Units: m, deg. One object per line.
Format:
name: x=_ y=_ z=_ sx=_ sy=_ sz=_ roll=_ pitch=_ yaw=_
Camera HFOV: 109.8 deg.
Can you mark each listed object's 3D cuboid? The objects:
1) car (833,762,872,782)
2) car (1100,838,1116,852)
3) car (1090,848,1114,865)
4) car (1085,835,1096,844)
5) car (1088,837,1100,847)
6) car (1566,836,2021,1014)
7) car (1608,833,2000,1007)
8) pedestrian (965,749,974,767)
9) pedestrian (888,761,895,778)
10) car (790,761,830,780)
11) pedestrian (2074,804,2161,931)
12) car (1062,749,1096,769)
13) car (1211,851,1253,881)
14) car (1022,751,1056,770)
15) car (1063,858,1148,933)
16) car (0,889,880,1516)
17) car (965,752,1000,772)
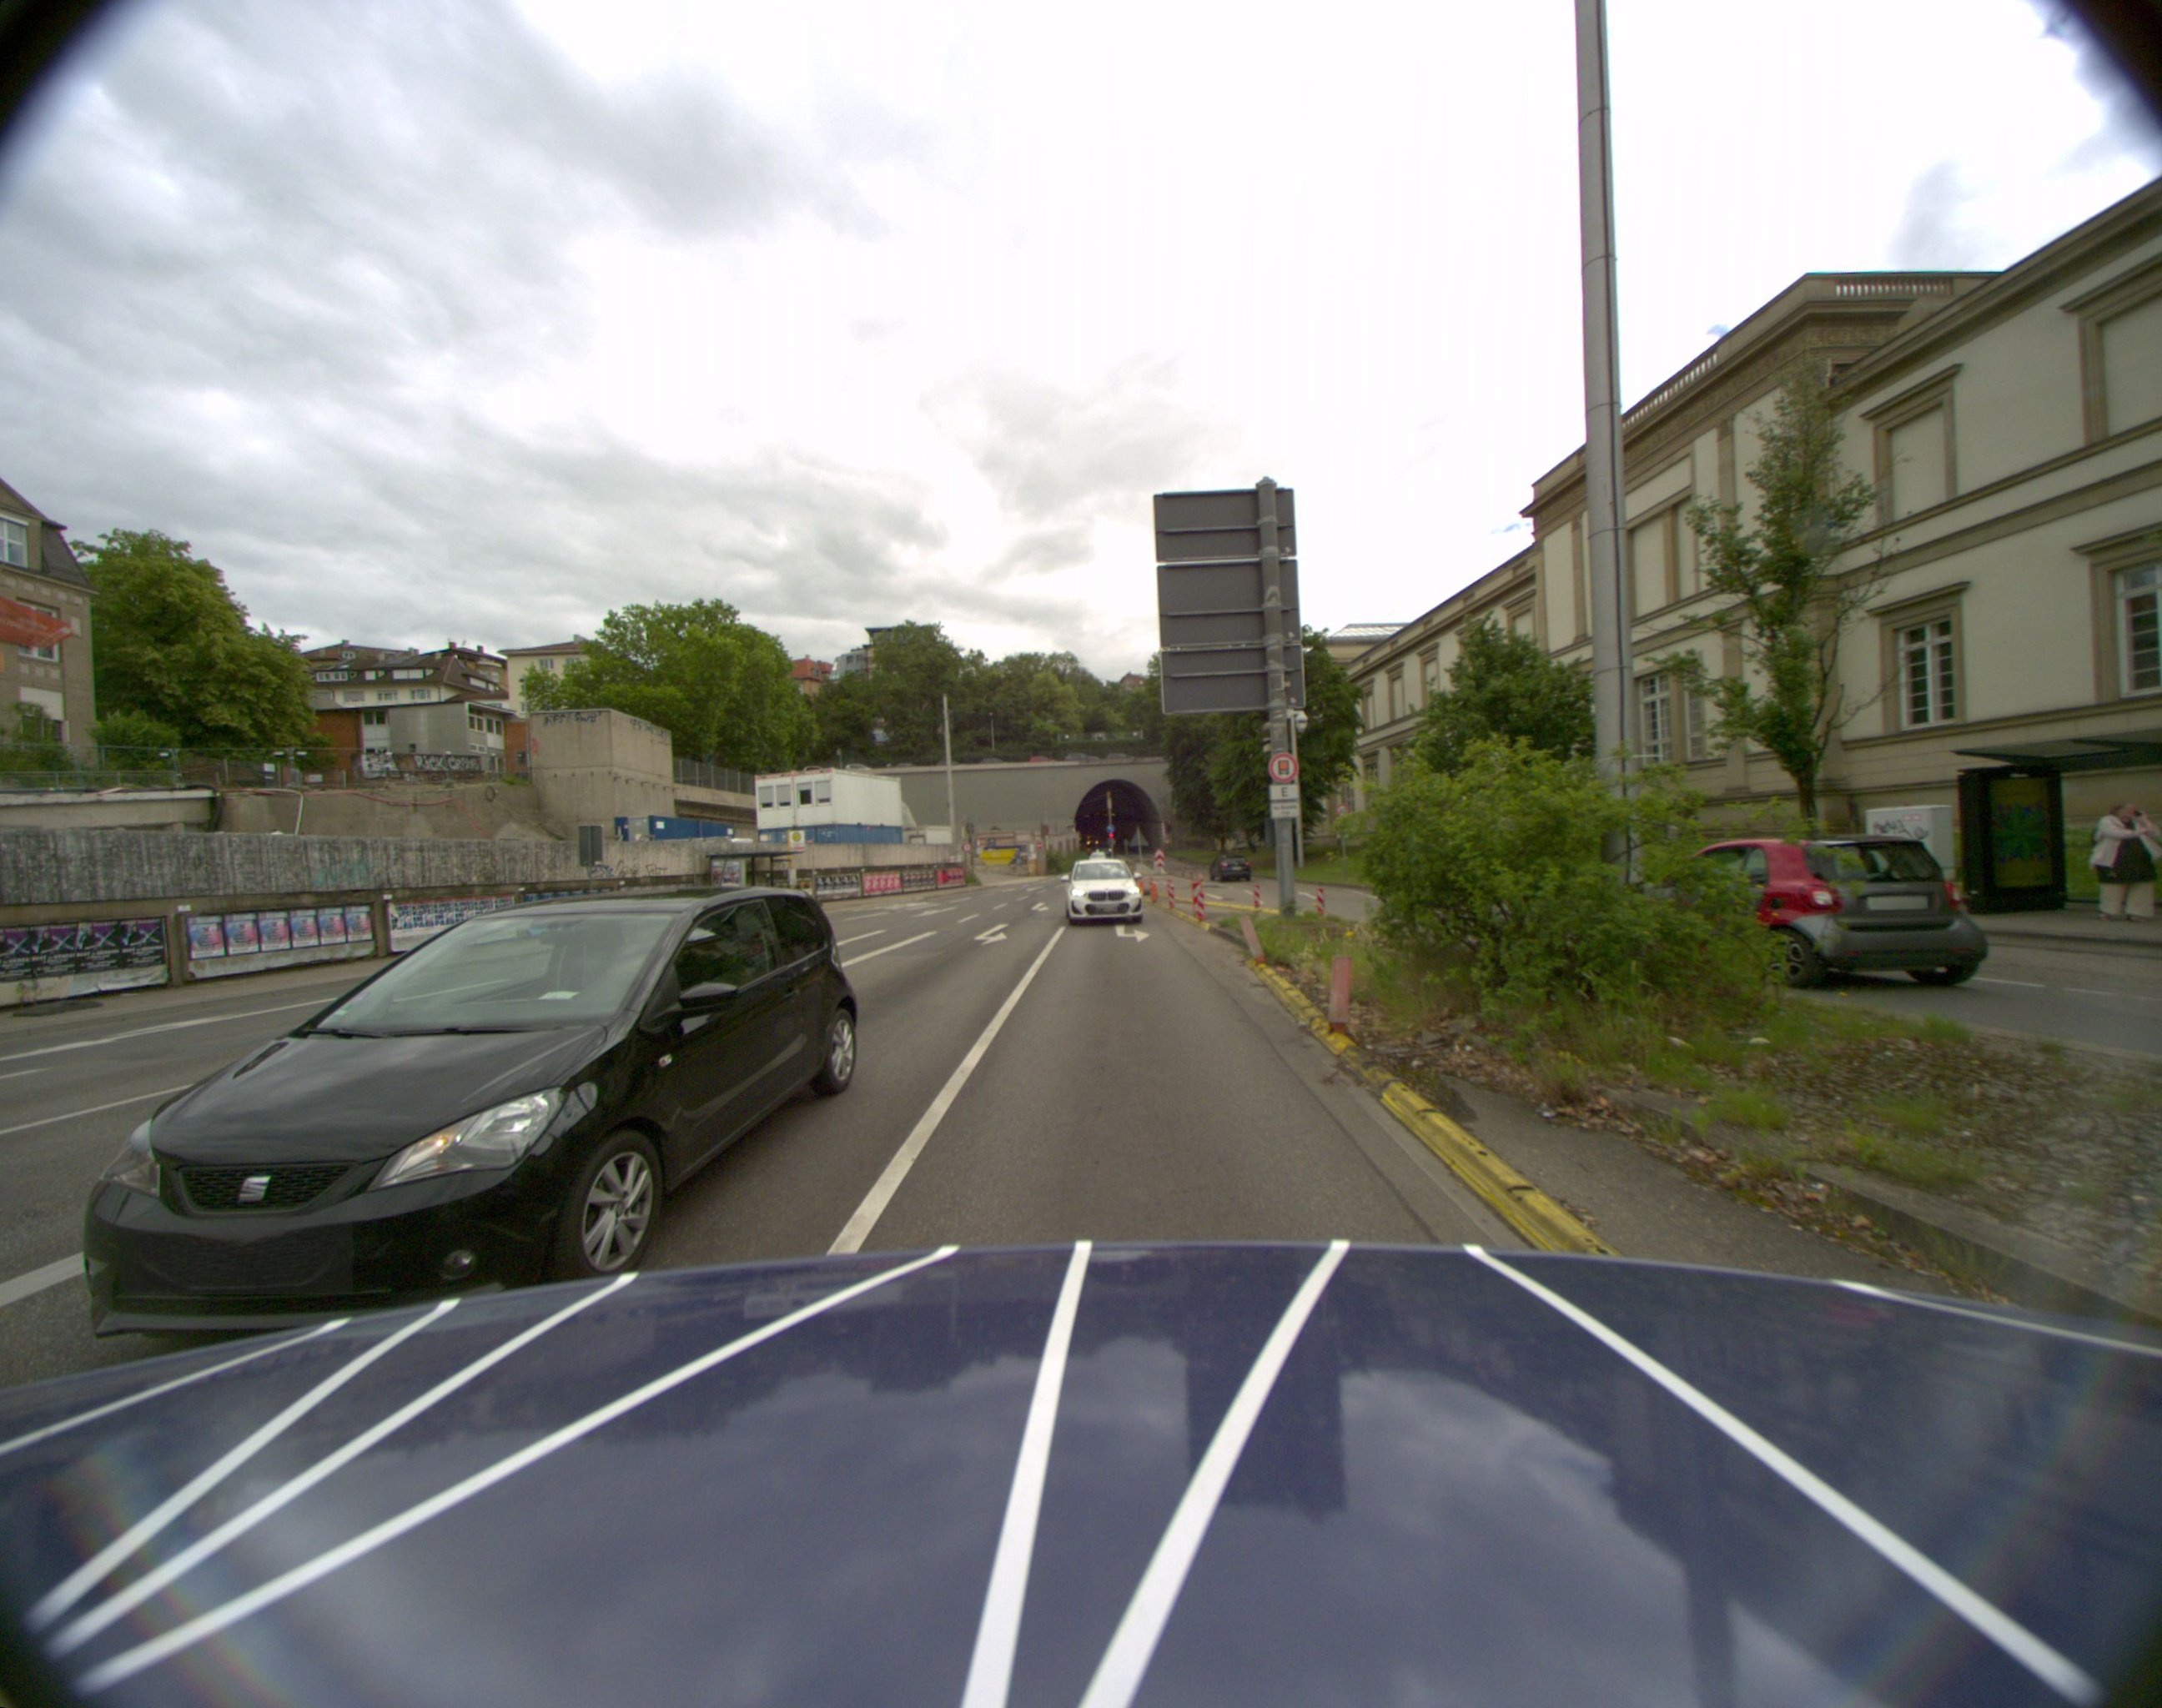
car: x=-27.364 y=-9.804 z=91.073 sx=3.999 sy=2.002 sz=1.999 roll=-2 pitch=1 yaw=-5
car: x=3.308 y=-1.100 z=92.695 sx=1.826 sy=1.562 sz=4.655 roll=-3 pitch=0 yaw=4
car: x=2.047 y=0.257 z=73.331 sx=1.662 sy=1.471 sz=4.003 roll=-3 pitch=0 yaw=11
car: x=1.723 y=-2.660 z=137.616 sx=1.705 sy=1.550 sz=4.550 roll=-3 pitch=0 yaw=0
car: x=1.966 y=-1.854 z=118.168 sx=1.705 sy=1.550 sz=4.550 roll=-3 pitch=0 yaw=0
car: x=7.680 y=0.644 z=8.811 sx=1.667 sy=1.581 sz=3.882 roll=-1 pitch=0 yaw=1
car: x=7.619 y=0.605 z=8.372 sx=1.539 sy=1.542 sz=2.823 roll=-2 pitch=0 yaw=-3
pedestrian: x=-13.071 y=-11.265 z=89.089 sx=0.851 sy=2.002 sz=0.905 roll=-3 pitch=1 yaw=-4
pedestrian: x=-22.836 y=-10.193 z=91.473 sx=0.582 sy=2.002 sz=0.577 roll=-2 pitch=1 yaw=-4
car: x=-32.413 y=-9.987 z=90.937 sx=3.999 sy=2.002 sz=1.999 roll=-2 pitch=1 yaw=-5
pedestrian: x=14.267 y=0.183 z=10.450 sx=0.586 sy=1.685 sz=0.459 roll=-2 pitch=1 yaw=34
car: x=-0.268 y=-11.581 z=92.583 sx=3.998 sy=2.002 sz=1.999 roll=-2 pitch=1 yaw=-3
car: x=8.680 y=0.657 z=43.917 sx=1.667 sy=1.581 sz=3.882 roll=-1 pitch=0 yaw=1
car: x=-5.144 y=-11.398 z=92.428 sx=3.998 sy=2.002 sz=1.999 roll=-2 pitch=1 yaw=-3
car: x=0.593 y=0.958 z=19.156 sx=1.849 sy=1.581 sz=3.882 roll=-3 pitch=0 yaw=1
car: x=-2.486 y=1.057 z=4.021 sx=1.667 sy=1.487 sz=3.882 roll=-3 pitch=0 yaw=1
car: x=-11.845 y=-11.144 z=91.935 sx=3.998 sy=2.002 sz=1.999 roll=-2 pitch=1 yaw=-3
